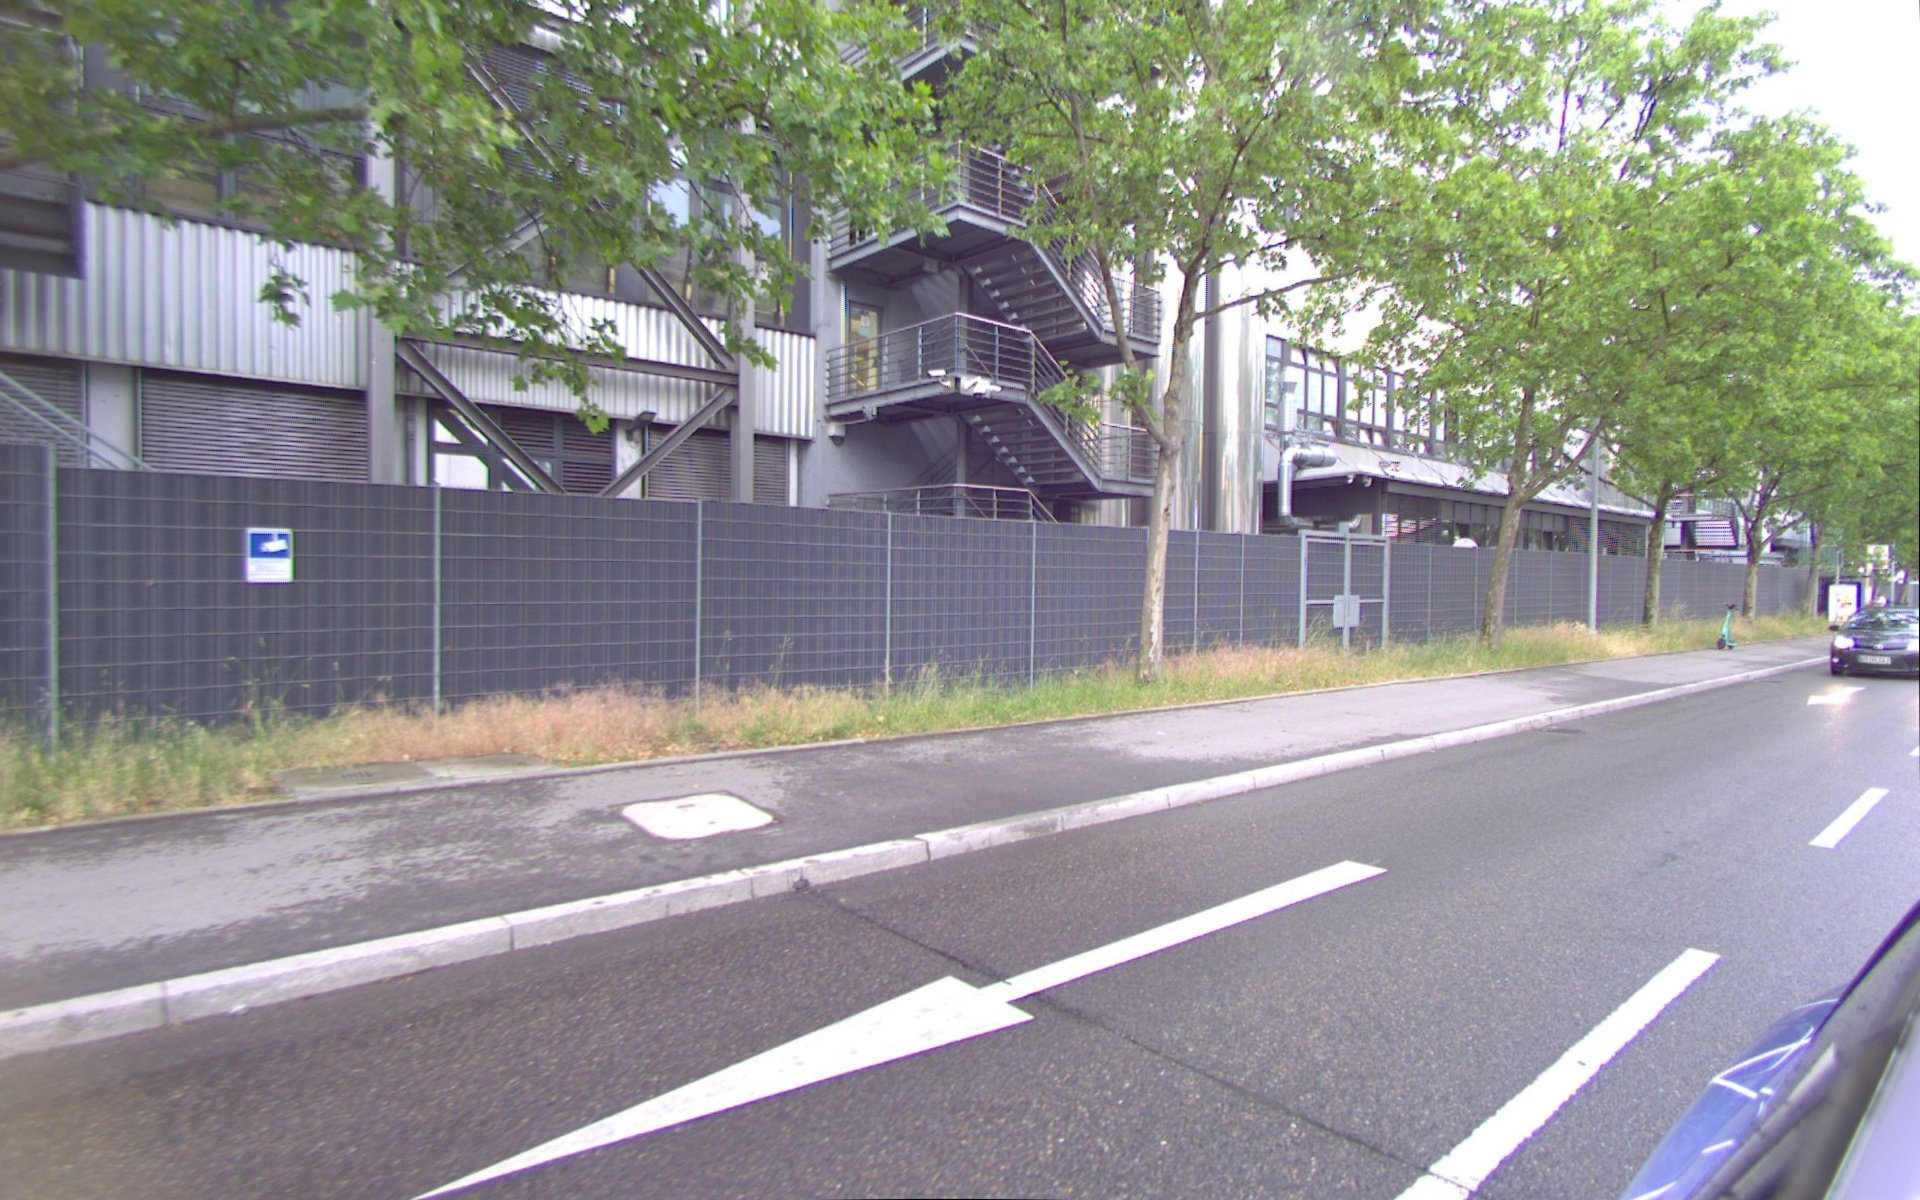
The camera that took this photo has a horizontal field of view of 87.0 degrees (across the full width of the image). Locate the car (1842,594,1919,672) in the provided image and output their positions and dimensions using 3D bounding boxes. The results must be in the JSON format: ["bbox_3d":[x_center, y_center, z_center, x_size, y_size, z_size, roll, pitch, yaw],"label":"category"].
[{"bbox_3d":[20.416,0.668,21.755,4.010,1.512,1.877,0,2,-45],"label":"car"}]

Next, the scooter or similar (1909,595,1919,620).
[{"bbox_3d":[52.098,0.395,55.024,1.341,1.311,0.437,0,1,-34],"label":"scooter or similar"}]

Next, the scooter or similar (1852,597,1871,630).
[{"bbox_3d":[37.048,0.529,41.568,1.222,1.325,0.329,0,1,-37],"label":"scooter or similar"}]

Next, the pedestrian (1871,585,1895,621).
[{"bbox_3d":[45.923,0.148,50.357,0.717,1.731,0.777,0,1,-42],"label":"pedestrian"}]

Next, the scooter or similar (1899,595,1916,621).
[{"bbox_3d":[49.054,0.409,52.398,1.277,1.311,0.437,0,1,-39],"label":"scooter or similar"}]

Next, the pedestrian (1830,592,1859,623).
[{"bbox_3d":[42.419,0.341,48.527,0.686,1.433,0.932,0,1,-42],"label":"pedestrian"}]

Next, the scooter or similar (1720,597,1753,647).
[{"bbox_3d":[20.519,0.575,26.729,1.087,1.285,0.330,0,1,-33],"label":"scooter or similar"}]

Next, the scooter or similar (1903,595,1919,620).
[{"bbox_3d":[50.591,0.401,53.821,1.277,1.311,0.437,0,1,-39],"label":"scooter or similar"}]
